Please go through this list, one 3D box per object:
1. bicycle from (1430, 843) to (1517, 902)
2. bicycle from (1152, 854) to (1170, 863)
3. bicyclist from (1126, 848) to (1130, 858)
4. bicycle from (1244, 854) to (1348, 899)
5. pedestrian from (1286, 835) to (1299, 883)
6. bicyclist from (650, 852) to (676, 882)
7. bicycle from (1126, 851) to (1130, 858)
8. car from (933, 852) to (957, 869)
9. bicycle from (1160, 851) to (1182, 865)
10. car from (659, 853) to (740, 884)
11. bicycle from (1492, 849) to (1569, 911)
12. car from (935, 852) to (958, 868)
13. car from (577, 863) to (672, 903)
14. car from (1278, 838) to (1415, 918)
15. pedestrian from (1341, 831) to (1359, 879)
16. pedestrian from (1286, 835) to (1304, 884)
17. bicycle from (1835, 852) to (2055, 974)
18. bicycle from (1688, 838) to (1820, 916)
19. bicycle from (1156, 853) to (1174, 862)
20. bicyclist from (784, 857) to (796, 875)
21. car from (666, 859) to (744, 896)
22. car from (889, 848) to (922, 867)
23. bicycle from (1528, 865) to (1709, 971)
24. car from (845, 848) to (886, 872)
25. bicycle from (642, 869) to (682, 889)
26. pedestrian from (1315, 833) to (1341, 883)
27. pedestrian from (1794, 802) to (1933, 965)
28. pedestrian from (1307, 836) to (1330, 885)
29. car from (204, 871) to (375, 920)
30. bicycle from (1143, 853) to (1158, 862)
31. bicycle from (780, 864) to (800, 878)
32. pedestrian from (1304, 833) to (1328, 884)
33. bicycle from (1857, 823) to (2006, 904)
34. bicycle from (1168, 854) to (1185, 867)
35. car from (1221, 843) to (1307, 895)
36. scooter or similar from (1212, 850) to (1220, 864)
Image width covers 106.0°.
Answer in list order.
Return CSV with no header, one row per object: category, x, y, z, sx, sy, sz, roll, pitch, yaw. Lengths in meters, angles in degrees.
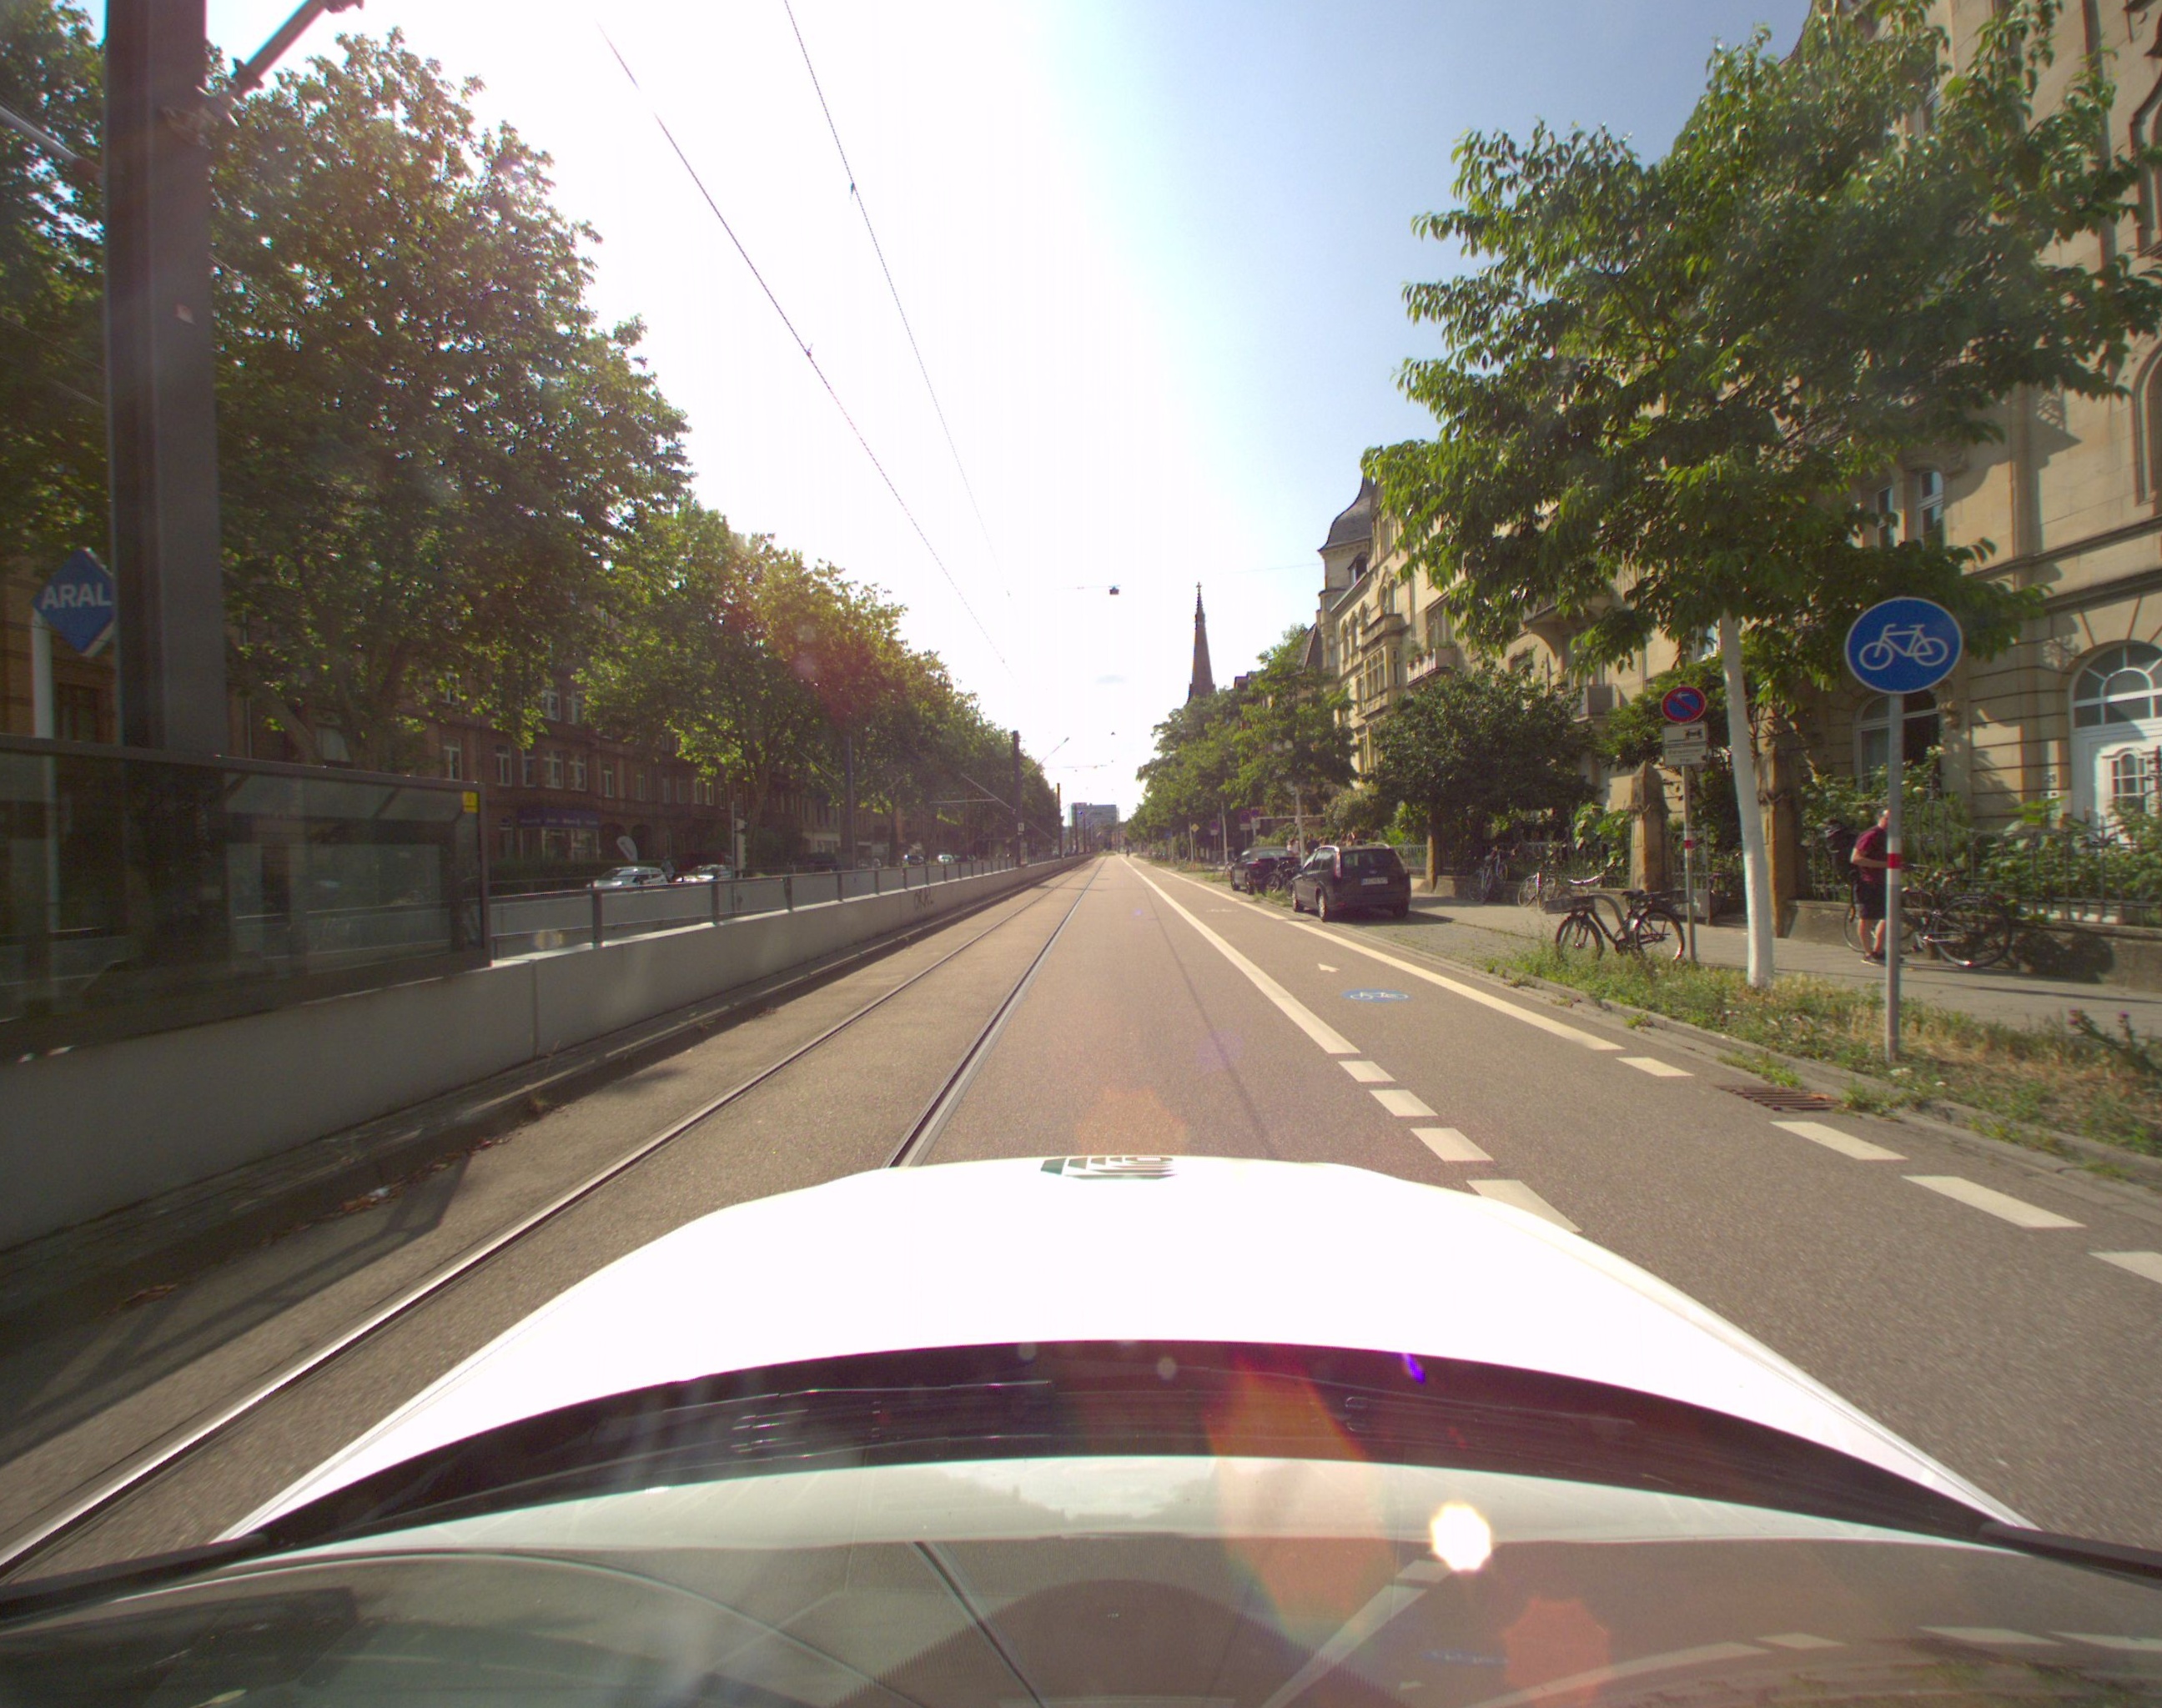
bicycle,9.191,0.397,19.223,0.655,1.248,2.944,-5,0,2
bicycle,9.007,0.471,91.758,1.811,0.902,0.603,-4,0,-2
bicyclist,8.650,-0.229,150.197,0.767,1.730,1.027,-2,0,3
bicycle,6.466,0.659,24.547,2.947,1.246,0.790,-2,0,-11
pedestrian,7.673,0.191,29.576,0.316,1.706,0.462,-4,0,16
bicyclist,-21.108,0.648,41.144,0.686,1.455,1.045,-2,0,2
bicycle,8.668,0.017,150.231,0.796,1.236,2.780,-2,0,3
car,-15.516,0.735,93.313,1.832,1.727,4.002,-4,0,2
bicycle,8.189,0.402,74.188,1.816,1.145,0.649,-4,0,-9
car,-25.694,0.978,54.955,4.387,1.918,2.000,-2,0,0
bicycle,8.983,0.491,16.370,0.426,1.139,2.024,-5,0,2
car,-16.075,0.741,97.303,1.832,1.727,4.002,-4,0,2
car,-17.976,1.097,32.215,1.490,1.303,3.496,-4,0,4
car,5.682,0.460,18.063,1.679,1.502,4.711,-2,0,3
pedestrian,9.757,0.024,29.557,0.382,1.706,0.431,-4,0,2
pedestrian,8.013,0.201,30.441,0.457,1.804,0.319,-4,0,0
bicycle,8.783,0.544,8.387,0.468,1.108,1.712,-2,0,2
bicycle,10.600,0.358,12.845,1.702,1.069,0.470,-5,0,-4
bicycle,8.983,0.368,86.819,1.811,0.902,0.651,-4,0,-2
bicyclist,-20.373,0.829,57.039,0.533,1.232,0.724,-2,0,2
car,-17.739,1.091,38.663,1.637,1.482,4.003,-4,0,2
car,-17.020,0.337,79.123,1.985,1.636,4.005,-4,0,4
bicycle,5.898,0.687,8.963,1.702,1.069,0.470,-2,0,-4
car,-16.929,0.456,64.200,1.708,1.691,3.739,-4,1,8
bicycle,-21.098,1.262,41.082,0.668,0.913,2.369,-2,0,2
pedestrian,8.610,0.149,28.349,0.530,1.676,0.571,-4,0,-17
pedestrian,8.278,0.302,8.652,0.720,1.629,0.725,-2,0,2
pedestrian,8.507,0.220,29.212,0.502,1.706,0.493,-4,0,-17
car,-26.975,1.389,27.841,3.969,1.483,2.002,-2,0,4
bicycle,8.809,0.446,103.019,1.811,0.902,0.603,-4,0,-2
bicycle,-20.364,1.201,57.068,0.533,0.913,2.150,-2,0,2
pedestrian,8.635,0.161,29.917,0.667,1.804,0.319,-4,0,0
bicycle,13.352,0.144,12.796,1.885,1.069,0.470,-5,0,-4
bicycle,8.085,0.553,69.011,0.651,1.038,1.810,-4,0,-19
car,6.193,0.462,28.076,1.793,1.526,4.487,-4,0,-1
scooter or similar,11.665,0.268,70.218,0.459,1.158,1.574,-3,0,3
